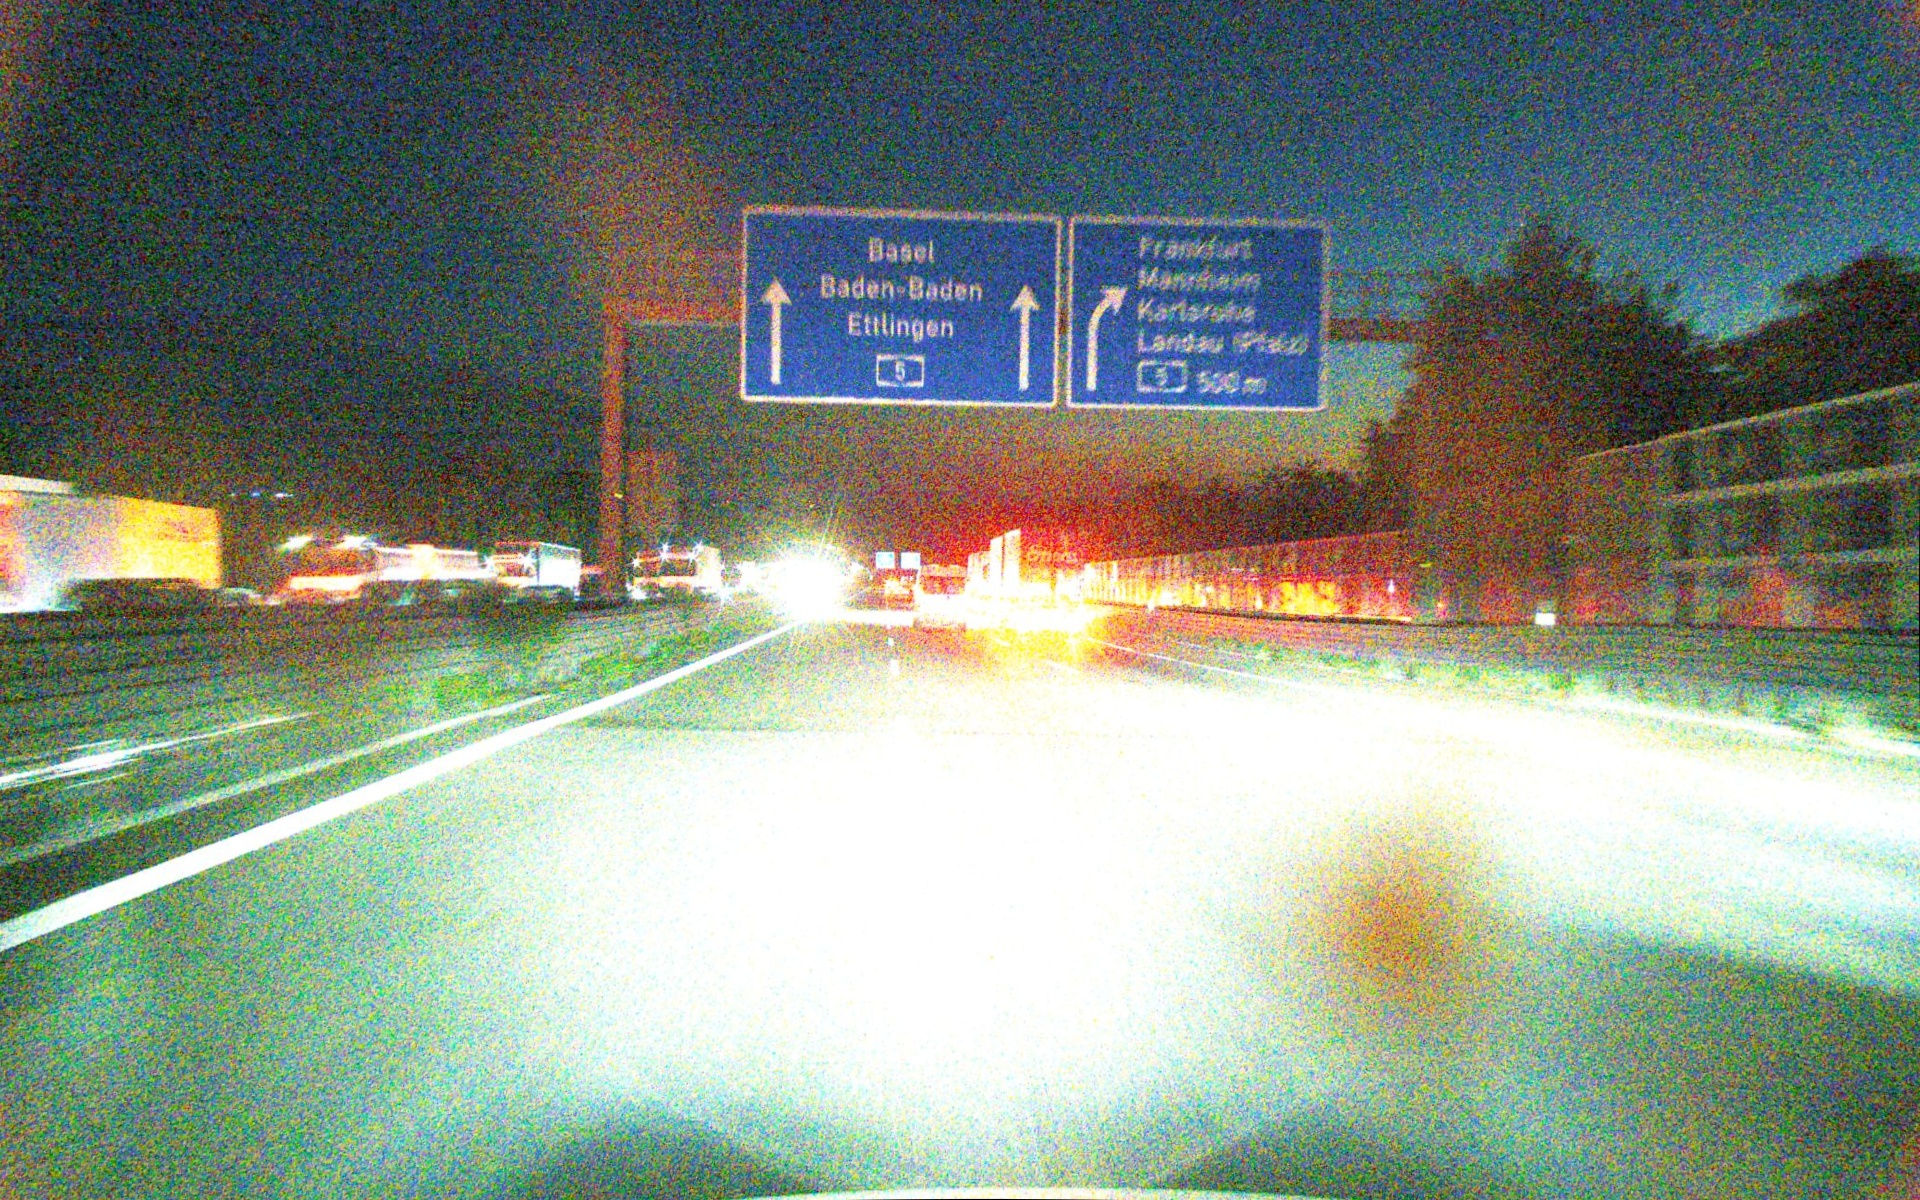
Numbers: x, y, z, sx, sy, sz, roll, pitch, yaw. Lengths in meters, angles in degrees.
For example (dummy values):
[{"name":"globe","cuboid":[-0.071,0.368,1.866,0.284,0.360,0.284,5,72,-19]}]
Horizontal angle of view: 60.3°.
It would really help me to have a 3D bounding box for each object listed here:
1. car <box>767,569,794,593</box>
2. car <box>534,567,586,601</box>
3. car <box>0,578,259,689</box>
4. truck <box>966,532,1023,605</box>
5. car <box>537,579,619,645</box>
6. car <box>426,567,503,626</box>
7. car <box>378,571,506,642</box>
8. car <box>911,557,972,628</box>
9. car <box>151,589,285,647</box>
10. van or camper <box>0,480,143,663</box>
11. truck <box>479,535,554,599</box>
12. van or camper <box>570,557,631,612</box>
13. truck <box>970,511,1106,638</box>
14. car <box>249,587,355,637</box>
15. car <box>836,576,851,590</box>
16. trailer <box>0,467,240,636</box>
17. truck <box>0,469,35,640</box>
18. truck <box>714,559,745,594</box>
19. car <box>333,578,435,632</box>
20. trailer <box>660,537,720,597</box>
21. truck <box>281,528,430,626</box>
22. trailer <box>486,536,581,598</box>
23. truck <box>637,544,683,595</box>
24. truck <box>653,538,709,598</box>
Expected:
[{"name":"car","cuboid":[-16.826,-1.744,155.339,1.953,2.049,5.323,2,-1,-1]},{"name":"car","cuboid":[-21.403,-0.835,88.638,1.954,1.675,4.310,2,-1,-4]},{"name":"car","cuboid":[-11.266,0.396,22.599,1.537,1.378,4.001,0,0,2]},{"name":"truck","cuboid":[2.197,-2.076,111.618,3.276,4.554,13.908,2,1,-1]},{"name":"car","cuboid":[-12.692,0.394,55.216,1.954,2.049,3.997,2,-1,-4]},{"name":"car","cuboid":[-25.118,-0.220,84.130,2.268,2.765,6.353,2,1,-4]},{"name":"car","cuboid":[-10.692,0.111,34.395,1.539,1.378,3.998,0,0,-2]},{"name":"car","cuboid":[-0.676,-0.240,65.098,2.289,2.686,5.247,1,-1,1]},{"name":"car","cuboid":[-18.559,0.415,41.567,1.680,1.378,3.998,0,0,-2]},{"name":"van or camper","cuboid":[-18.672,-0.536,31.935,2.384,3.329,7.390,0,0,-2]},{"name":"truck","cuboid":[-25.983,-1.897,97.190,2.901,3.502,6.358,2,0,-3]},{"name":"van or camper","cuboid":[-18.272,-0.796,84.432,2.043,2.678,7.598,0,0,-5]},{"name":"truck","cuboid":[3.008,-0.914,72.904,3.837,4.708,21.004,-2,0,-3]},{"name":"car","cuboid":[-18.797,0.312,47.403,1.539,1.378,3.998,0,0,-2]},{"name":"car","cuboid":[-16.798,-2.419,238.316,1.955,2.049,3.994,0,0,-7]},{"name":"trailer","cuboid":[-22.738,-1.122,43.061,2.825,3.740,13.125,0,0,-3]},{"name":"truck","cuboid":[-22.252,-0.977,33.852,2.825,3.740,7.260,0,0,-3]},{"name":"truck","cuboid":[-26.663,-2.715,191.217,2.803,3.751,6.599,2,-1,-3]},{"name":"car","cuboid":[-15.437,0.119,44.507,1.539,1.378,3.998,0,0,-3]},{"name":"trailer","cuboid":[-18.882,-2.215,116.426,2.828,3.735,12.207,2,-1,-3]},{"name":"truck","cuboid":[-20.015,-0.673,55.218,2.505,3.038,7.448,0,-1,-3]},{"name":"trailer","cuboid":[-26.193,-1.954,102.374,2.901,3.502,13.430,2,0,-3]},{"name":"truck","cuboid":[-22.848,-2.320,126.112,2.818,3.737,6.045,2,1,-5]},{"name":"truck","cuboid":[-18.542,-2.060,110.226,2.817,3.738,6.775,2,-1,-3]}]
